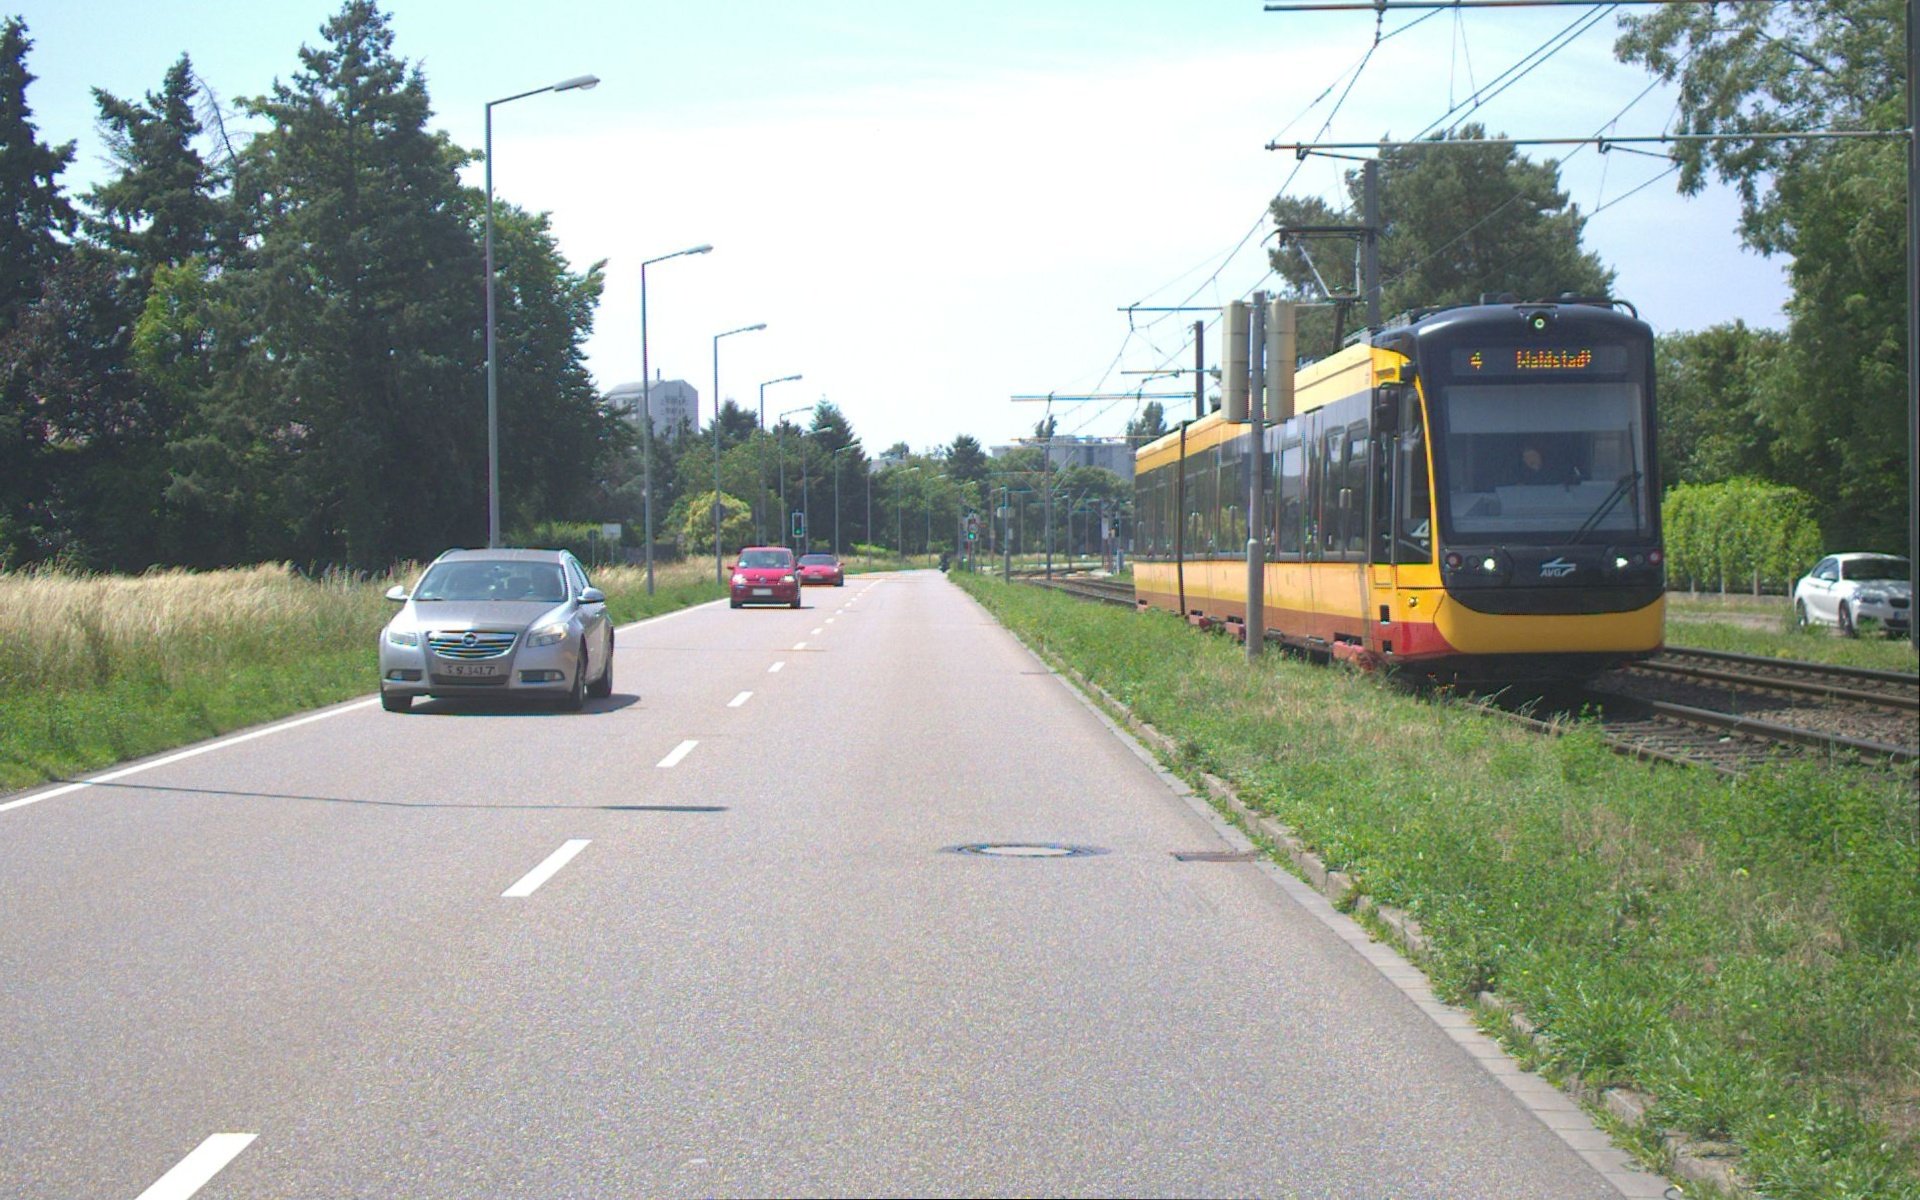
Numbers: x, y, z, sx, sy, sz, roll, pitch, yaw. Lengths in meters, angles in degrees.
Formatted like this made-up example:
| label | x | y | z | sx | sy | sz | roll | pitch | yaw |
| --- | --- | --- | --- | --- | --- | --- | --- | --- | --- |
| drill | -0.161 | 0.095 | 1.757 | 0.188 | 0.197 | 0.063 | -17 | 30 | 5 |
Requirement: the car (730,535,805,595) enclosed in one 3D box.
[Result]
| label | x | y | z | sx | sy | sz | roll | pitch | yaw |
| --- | --- | --- | --- | --- | --- | --- | --- | --- | --- |
| car | -4.665 | -0.841 | 83.614 | 1.645 | 1.395 | 3.844 | -1 | 0 | -1 |

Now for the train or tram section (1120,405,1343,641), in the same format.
| label | x | y | z | sx | sy | sz | roll | pitch | yaw |
| --- | --- | --- | --- | --- | --- | --- | --- | --- | --- |
| train or tram section | 4.549 | -1.216 | 59.860 | 2.765 | 3.677 | 11.186 | -1 | 0 | -1 |

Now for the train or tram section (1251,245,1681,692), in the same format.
| label | x | y | z | sx | sy | sz | roll | pitch | yaw |
| --- | --- | --- | --- | --- | --- | --- | --- | --- | --- |
| train or tram section | 4.777 | -1.113 | 34.893 | 2.429 | 3.753 | 11.559 | -1 | 0 | -1 |

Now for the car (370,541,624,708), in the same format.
| label | x | y | z | sx | sy | sz | roll | pitch | yaw |
| --- | --- | --- | --- | --- | --- | --- | --- | --- | --- |
| car | -4.320 | 0.225 | 32.710 | 1.834 | 1.462 | 4.678 | -1 | 0 | -1 |

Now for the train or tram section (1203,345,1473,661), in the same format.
| label | x | y | z | sx | sy | sz | roll | pitch | yaw |
| --- | --- | --- | --- | --- | --- | --- | --- | --- | --- |
| train or tram section | 4.715 | -1.149 | 44.101 | 2.560 | 3.701 | 6.729 | -1 | 0 | -1 |

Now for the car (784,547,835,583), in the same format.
| label | x | y | z | sx | sy | sz | roll | pitch | yaw |
| --- | --- | --- | --- | --- | --- | --- | --- | --- | --- |
| car | -5.723 | -1.316 | 131.072 | 1.807 | 1.281 | 4.286 | -1 | 0 | -1 |

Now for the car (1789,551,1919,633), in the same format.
| label | x | y | z | sx | sy | sz | roll | pitch | yaw |
| --- | --- | --- | --- | --- | --- | --- | --- | --- | --- |
| car | 14.912 | -0.135 | 57.036 | 1.428 | 1.303 | 3.466 | -1 | 0 | -1 |

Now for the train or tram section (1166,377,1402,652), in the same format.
| label | x | y | z | sx | sy | sz | roll | pitch | yaw |
| --- | --- | --- | --- | --- | --- | --- | --- | --- | --- |
| train or tram section | 4.681 | -1.183 | 50.863 | 2.701 | 3.753 | 6.729 | -1 | 0 | -1 |
